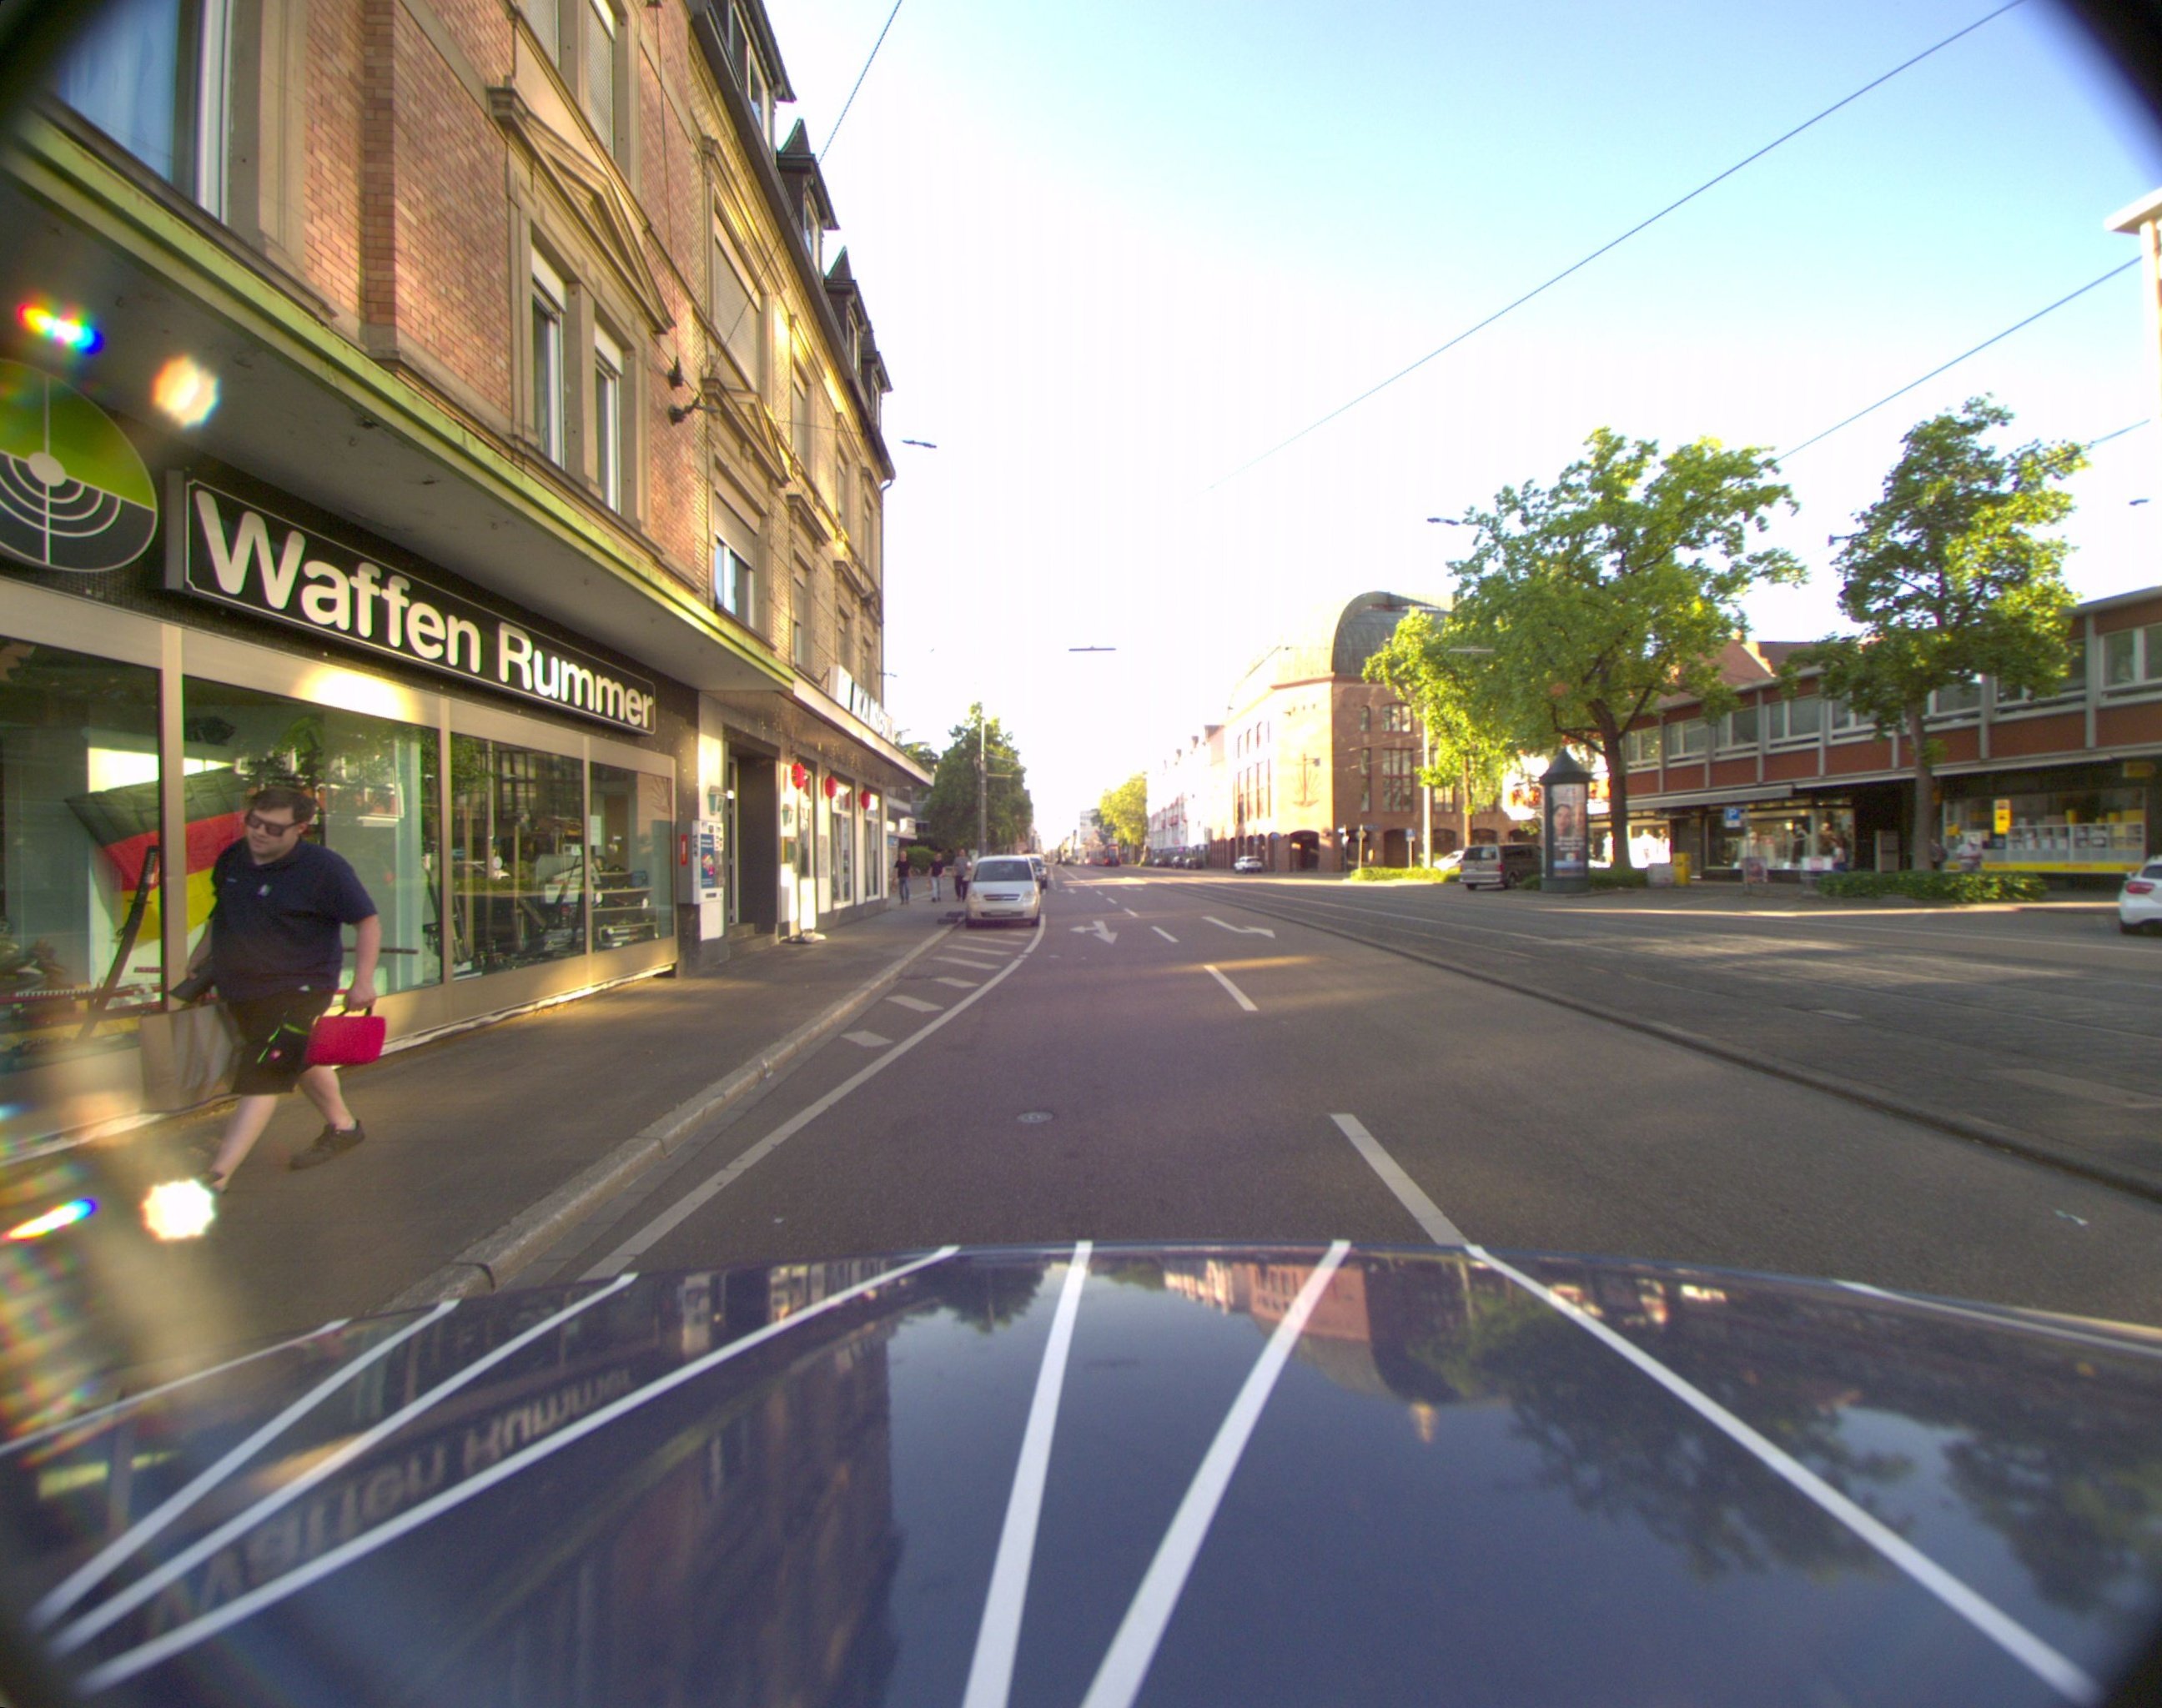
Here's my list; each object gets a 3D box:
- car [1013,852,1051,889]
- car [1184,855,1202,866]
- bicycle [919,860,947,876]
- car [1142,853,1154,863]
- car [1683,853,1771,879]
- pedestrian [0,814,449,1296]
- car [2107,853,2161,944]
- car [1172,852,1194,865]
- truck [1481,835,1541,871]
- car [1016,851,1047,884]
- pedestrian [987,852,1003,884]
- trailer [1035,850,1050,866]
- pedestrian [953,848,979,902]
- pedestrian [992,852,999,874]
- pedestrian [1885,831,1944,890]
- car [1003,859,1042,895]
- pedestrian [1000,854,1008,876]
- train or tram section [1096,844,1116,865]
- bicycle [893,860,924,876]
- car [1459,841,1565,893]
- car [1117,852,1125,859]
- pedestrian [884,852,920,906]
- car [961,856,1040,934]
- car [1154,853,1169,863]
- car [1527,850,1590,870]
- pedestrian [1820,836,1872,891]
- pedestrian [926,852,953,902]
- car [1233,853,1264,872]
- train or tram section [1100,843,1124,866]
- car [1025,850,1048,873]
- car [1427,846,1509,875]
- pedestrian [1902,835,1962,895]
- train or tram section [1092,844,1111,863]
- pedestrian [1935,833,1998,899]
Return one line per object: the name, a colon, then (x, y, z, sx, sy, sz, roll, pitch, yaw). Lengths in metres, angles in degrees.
car: (-2.569, 0.840, 40.475, 1.825, 1.747, 4.473, -2, 1, -3)
car: (14.306, 0.844, 97.537, 1.646, 1.392, 3.682, -2, 0, -2)
bicycle: (-10.399, 0.968, 53.580, 1.886, 1.090, 0.469, 0, 1, -4)
car: (12.245, 0.722, 139.065, 1.931, 1.787, 4.383, 0, 0, 1)
car: (41.476, 0.758, 48.927, 2.037, 1.569, 4.099, 0, 0, -4)
pedestrian: (-3.691, 0.747, 3.345, 0.949, 1.782, 1.054, 1, 0, -3)
car: (20.623, 0.761, 14.029, 4.276, 1.421, 1.762, -3, 1, -33)
car: (13.966, 0.587, 104.254, 1.964, 1.690, 4.559, -2, 0, -4)
truck: (34.122, -0.052, 60.434, 1.856, 2.747, 4.528, -1, 0, -7)
car: (-2.914, 0.761, 45.188, 1.680, 1.797, 4.247, -2, 0, -3)
pedestrian: (-4.700, 0.733, 41.692, 0.789, 1.727, 0.945, -1, 1, -3)
trailer: (-5.239, 0.535, 104.389, 1.784, 2.136, 5.315, -2, 0, 0)
pedestrian: (-4.130, 0.749, 27.369, 0.796, 1.888, 1.032, 0, 1, -3)
pedestrian: (-6.718, 0.686, 59.542, 0.494, 1.703, 0.437, 2, 1, -3)
pedestrian: (28.094, 0.217, 25.624, 0.996, 1.937, 0.900, 0, 1, -5)
car: (-2.679, 1.012, 35.203, 1.642, 1.484, 3.793, -3, 0, -4)
pedestrian: (-6.035, 0.837, 59.530, 0.494, 1.703, 0.437, 2, 1, -3)
train or tram section: (4.271, -0.013, 134.217, 2.683, 3.530, 11.123, 0, 0, -3)
bicycle: (-11.939, 0.975, 52.634, 2.020, 1.089, 0.637, 1, 0, -9)
car: (18.657, 0.499, 32.772, 5.130, 1.918, 1.849, -3, 2, -34)
car: (10.629, 0.310, 200.853, 1.861, 1.914, 3.999, 0, 0, -1)
pedestrian: (-5.816, 0.793, 24.737, 0.903, 1.703, 1.032, 2, 0, -3)
car: (-1.845, 0.885, 18.261, 1.642, 1.605, 3.943, -1, 0, -4)
car: (13.027, 0.641, 123.263, 1.829, 1.500, 4.559, -2, 0, -2)
car: (38.075, 0.462, 60.697, 1.856, 1.564, 4.528, -1, 0, -7)
pedestrian: (26.518, 0.319, 26.345, 0.919, 1.867, 0.900, 0, 1, -5)
pedestrian: (-5.028, 0.803, 27.097, 0.813, 1.746, 1.032, 0, 1, -3)
car: (15.493, 0.765, 70.623, 1.600, 1.581, 4.276, -3, 0, -4)
train or tram section: (4.857, 0.039, 122.219, 2.683, 3.530, 12.837, 0, 0, -3)
car: (-4.047, 0.664, 69.850, 1.882, 2.009, 4.904, -2, 0, -2)
car: (28.529, 0.485, 56.070, 4.993, 1.957, 2.130, -1, 3, -4)
pedestrian: (27.116, 0.336, 24.222, 0.919, 1.867, 0.900, 0, 1, -5)
train or tram section: (3.809, -0.106, 146.093, 2.766, 3.530, 12.463, 0, 0, -3)
pedestrian: (25.764, 0.351, 22.127, 0.917, 1.867, 0.902, 0, 1, 26)
